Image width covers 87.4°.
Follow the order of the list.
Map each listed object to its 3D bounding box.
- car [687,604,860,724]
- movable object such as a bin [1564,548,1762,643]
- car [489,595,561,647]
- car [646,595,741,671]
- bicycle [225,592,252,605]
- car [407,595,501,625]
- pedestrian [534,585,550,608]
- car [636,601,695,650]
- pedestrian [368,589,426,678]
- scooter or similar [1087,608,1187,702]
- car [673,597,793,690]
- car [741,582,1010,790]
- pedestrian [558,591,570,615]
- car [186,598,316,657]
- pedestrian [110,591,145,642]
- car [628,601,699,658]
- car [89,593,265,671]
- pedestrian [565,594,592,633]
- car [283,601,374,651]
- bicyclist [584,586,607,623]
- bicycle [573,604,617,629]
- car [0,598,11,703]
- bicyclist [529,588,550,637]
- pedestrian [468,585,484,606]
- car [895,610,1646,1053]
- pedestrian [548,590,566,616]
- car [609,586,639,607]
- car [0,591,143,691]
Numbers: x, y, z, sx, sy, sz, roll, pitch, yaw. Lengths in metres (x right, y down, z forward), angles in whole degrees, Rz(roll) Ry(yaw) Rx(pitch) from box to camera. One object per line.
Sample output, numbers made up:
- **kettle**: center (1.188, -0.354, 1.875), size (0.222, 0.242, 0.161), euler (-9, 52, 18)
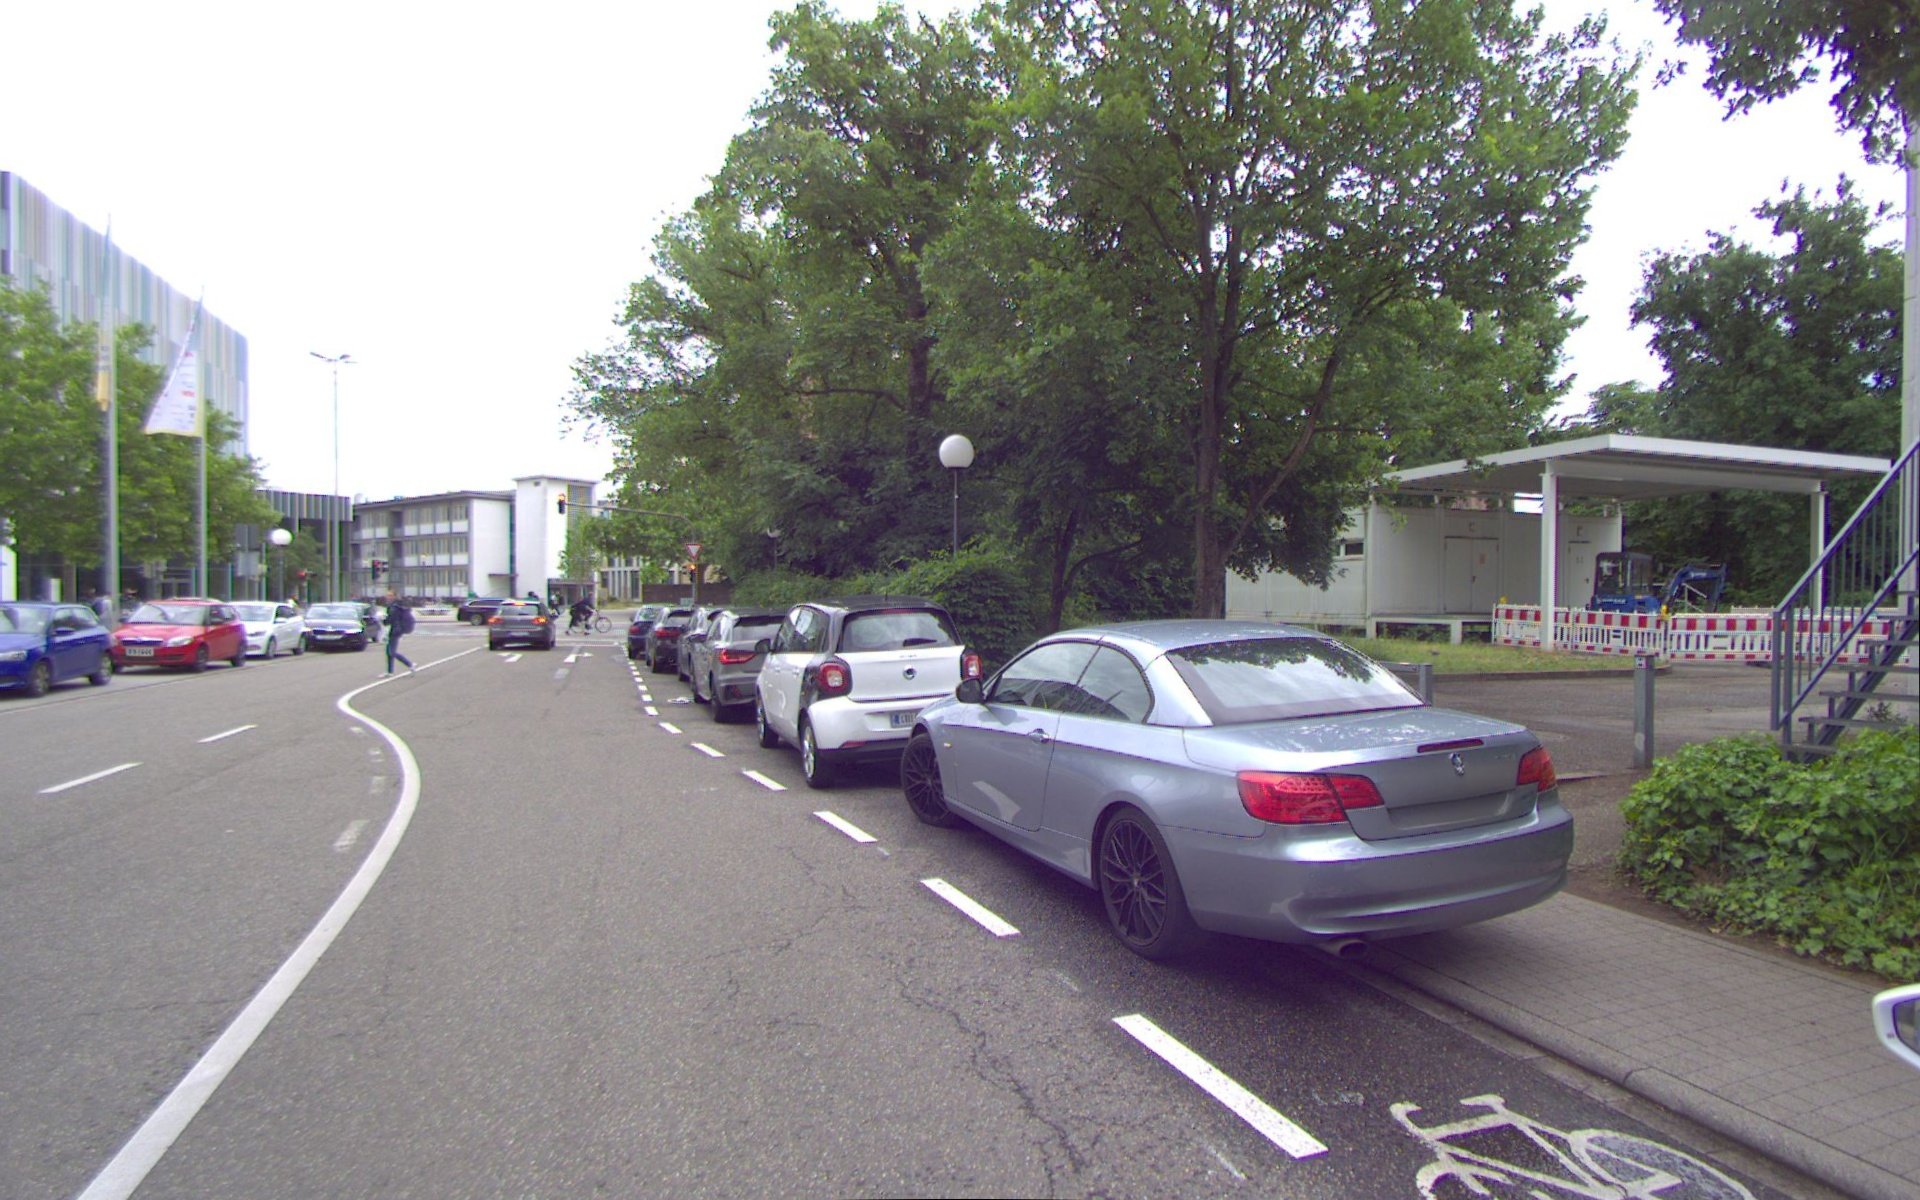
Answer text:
- **car**: center (-2.761, 0.773, 14.165), size (1.742, 1.430, 3.989), euler (0, 0, -21)
- **movable object such as a bin**: center (17.953, -0.072, 25.651), size (4.604, 2.200, 1.989), euler (2, 0, -23)
- **car**: center (-13.573, 0.611, 31.524), size (1.761, 1.517, 4.149), euler (1, 0, -19)
- **car**: center (-6.280, 0.710, 23.357), size (1.776, 1.581, 4.510), euler (1, -1, -19)
- **bicycle**: center (-54.743, -0.086, 76.240), size (1.969, 0.948, 0.484), euler (1, 1, 12)
- **car**: center (-26.867, 0.523, 53.507), size (4.227, 1.509, 1.991), euler (0, 1, -20)
- **pedestrian**: center (-30.909, -0.259, 74.246), size (0.794, 1.686, 0.790), euler (-3, -2, 26)
- **car**: center (-9.818, 0.811, 33.390), size (1.775, 1.489, 4.232), euler (1, 0, -17)
- **pedestrian**: center (-10.945, 0.653, 19.553), size (0.729, 1.684, 0.965), euler (1, -1, -16)
- **scooter or similar**: center (2.412, 0.733, 13.672), size (1.281, 1.226, 0.450), euler (0, 0, 22)
- **car**: center (-4.278, 0.721, 18.517), size (1.740, 1.491, 3.807), euler (1, 0, -19)
- **car**: center (-1.036, 0.676, 9.880), size (1.695, 1.607, 3.860), euler (0, 0, -20)
- **pedestrian**: center (-28.760, 0.211, 72.977), size (0.563, 1.687, 0.622), euler (0, 0, 24)
- **car**: center (-18.915, 0.681, 26.978), size (1.838, 1.472, 3.842), euler (0, 0, -19)
- **pedestrian**: center (-28.439, 0.562, 34.324), size (0.661, 1.738, 0.677), euler (1, 0, -11)
- **car**: center (-8.371, 0.788, 28.538), size (1.774, 1.427, 4.322), euler (1, 0, -15)
- **car**: center (-16.951, 0.647, 22.006), size (1.691, 1.493, 4.255), euler (3, -1, -19)
- **pedestrian**: center (-16.573, 0.589, 43.657), size (1.031, 1.641, 0.653), euler (0, 1, -29)
- **car**: center (-20.026, 0.755, 31.782), size (1.851, 1.420, 4.426), euler (-2, 1, -40)
- **bicyclist**: center (-16.529, 0.217, 45.535), size (0.857, 1.663, 0.870), euler (0, 0, -27)
- **bicycle**: center (-16.537, 0.754, 45.529), size (1.778, 1.108, 0.870), euler (0, 0, -28)
- **car**: center (-13.555, 0.649, 11.755), size (1.825, 1.461, 4.401), euler (0, -1, -18)
- **bicyclist**: center (-15.756, 0.461, 37.645), size (0.651, 1.803, 0.977), euler (1, 1, -27)
- **pedestrian**: center (-40.777, -0.372, 84.664), size (0.889, 1.737, 0.950), euler (1, 1, -6)
- **car**: center (1.130, 0.782, 5.587), size (1.797, 1.407, 4.172), euler (0, 0, -22)
- **pedestrian**: center (-28.902, 0.207, 72.095), size (0.878, 1.812, 0.845), euler (0, 0, 28)
- **car**: center (-36.379, -0.341, 108.957), size (1.964, 1.600, 4.403), euler (-8, -5, -6)
- **car**: center (-15.365, 0.586, 16.584), size (1.676, 1.430, 4.353), euler (1, 0, -22)
